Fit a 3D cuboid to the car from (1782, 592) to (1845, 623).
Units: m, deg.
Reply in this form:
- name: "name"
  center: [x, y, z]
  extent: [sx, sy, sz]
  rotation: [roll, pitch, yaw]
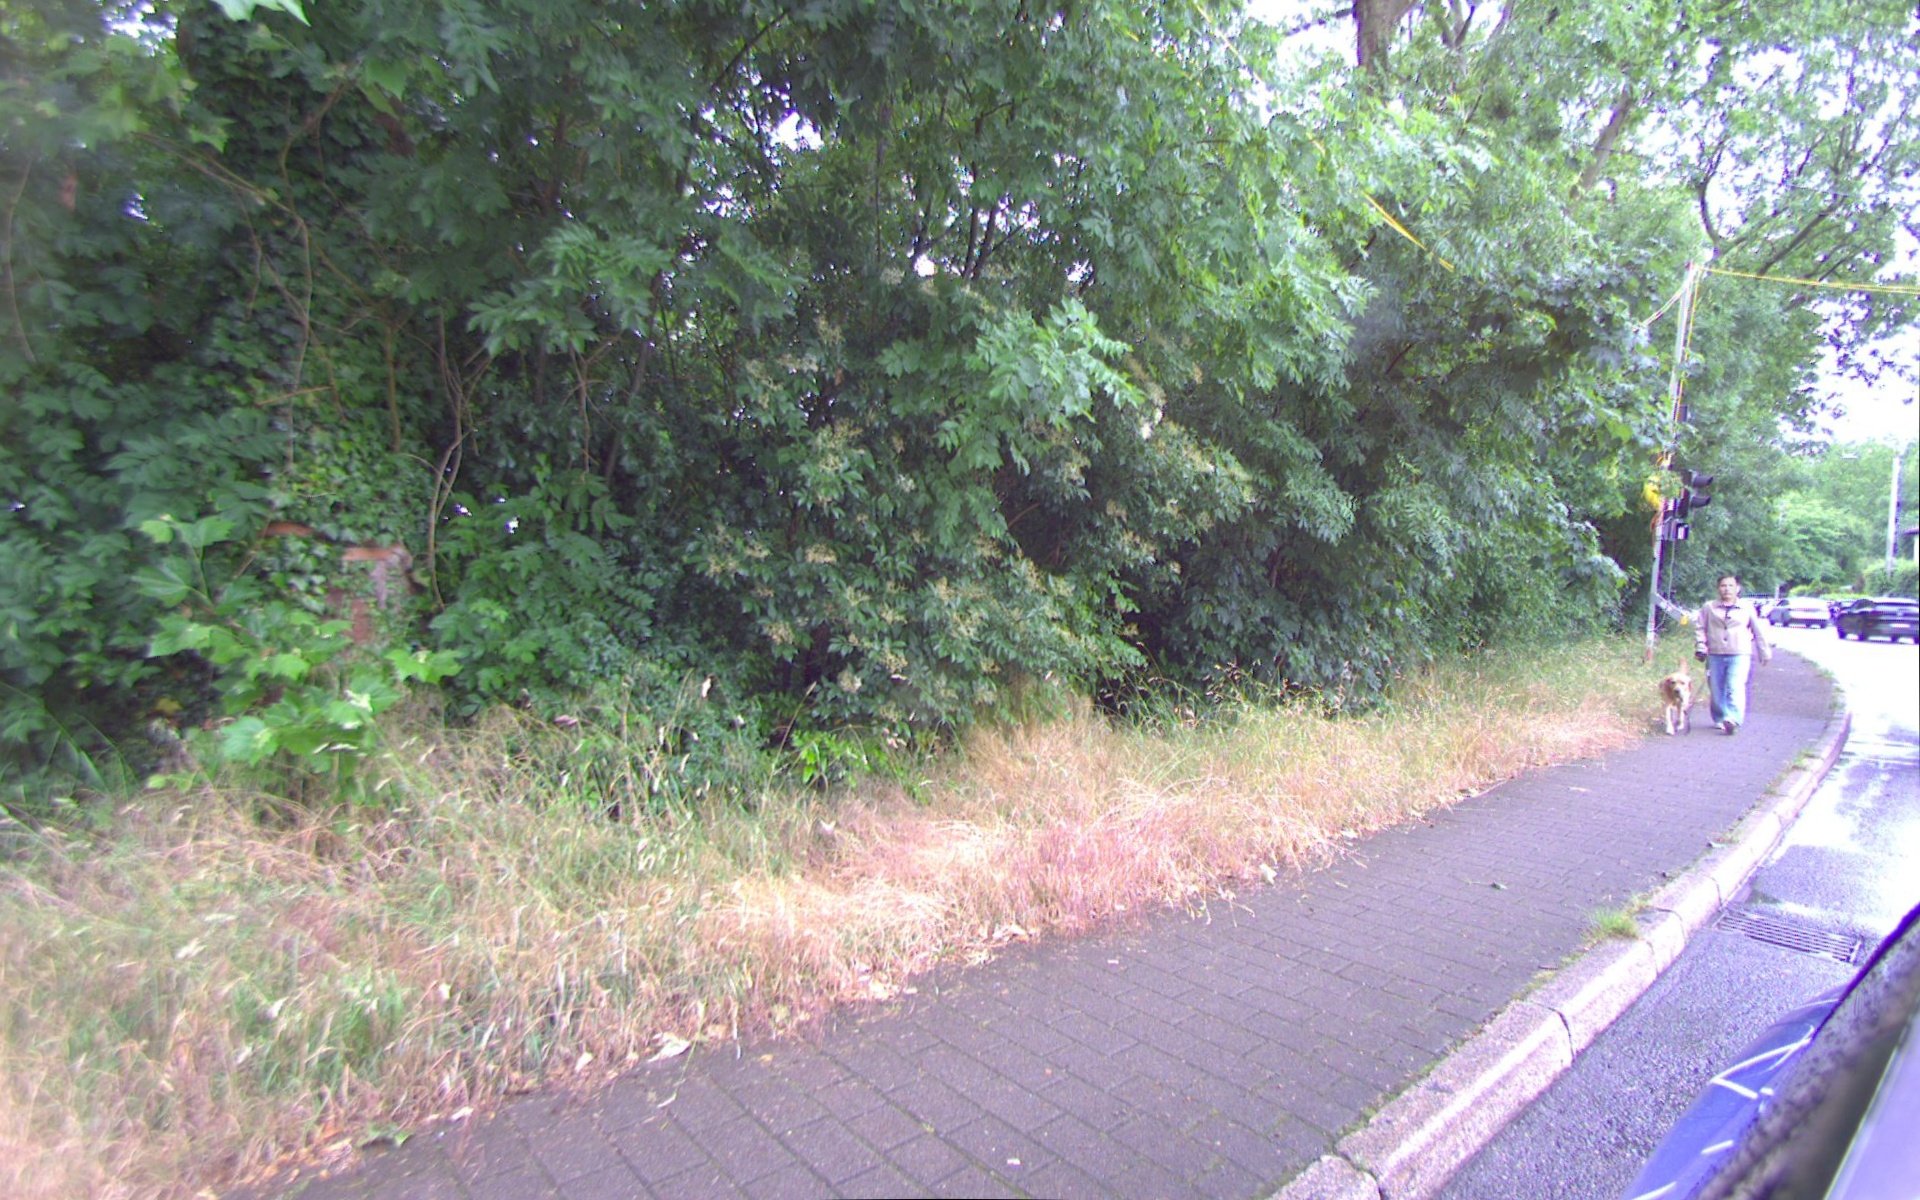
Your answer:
- name: "car"
  center: [44.642, 0.388, 53.025]
  extent: [1.845, 1.547, 4.764]
  rotation: [0, 0, 32]

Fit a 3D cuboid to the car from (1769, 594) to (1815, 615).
- name: "car"
  center: [60.746, 0.292, 73.928]
  extent: [2.055, 1.504, 4.509]
  rotation: [1, 1, 33]

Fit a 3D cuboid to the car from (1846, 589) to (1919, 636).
- name: "car"
  center: [34.262, 0.418, 37.127]
  extent: [1.857, 1.642, 4.120]
  rotation: [0, 0, 30]

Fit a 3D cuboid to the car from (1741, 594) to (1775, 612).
- name: "car"
  center: [64.940, 0.214, 82.380]
  extent: [1.676, 1.445, 3.734]
  rotation: [1, 1, 31]

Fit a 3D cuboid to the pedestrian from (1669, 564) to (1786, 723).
- name: "pedestrian"
  center: [7.857, 0.417, 10.360]
  extent: [0.771, 1.517, 0.734]
  rotation: [0, 3, -42]

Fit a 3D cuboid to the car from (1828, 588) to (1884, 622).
- name: "car"
  center: [51.058, 0.278, 57.716]
  extent: [1.869, 1.848, 4.075]
  rotation: [1, 1, 35]
